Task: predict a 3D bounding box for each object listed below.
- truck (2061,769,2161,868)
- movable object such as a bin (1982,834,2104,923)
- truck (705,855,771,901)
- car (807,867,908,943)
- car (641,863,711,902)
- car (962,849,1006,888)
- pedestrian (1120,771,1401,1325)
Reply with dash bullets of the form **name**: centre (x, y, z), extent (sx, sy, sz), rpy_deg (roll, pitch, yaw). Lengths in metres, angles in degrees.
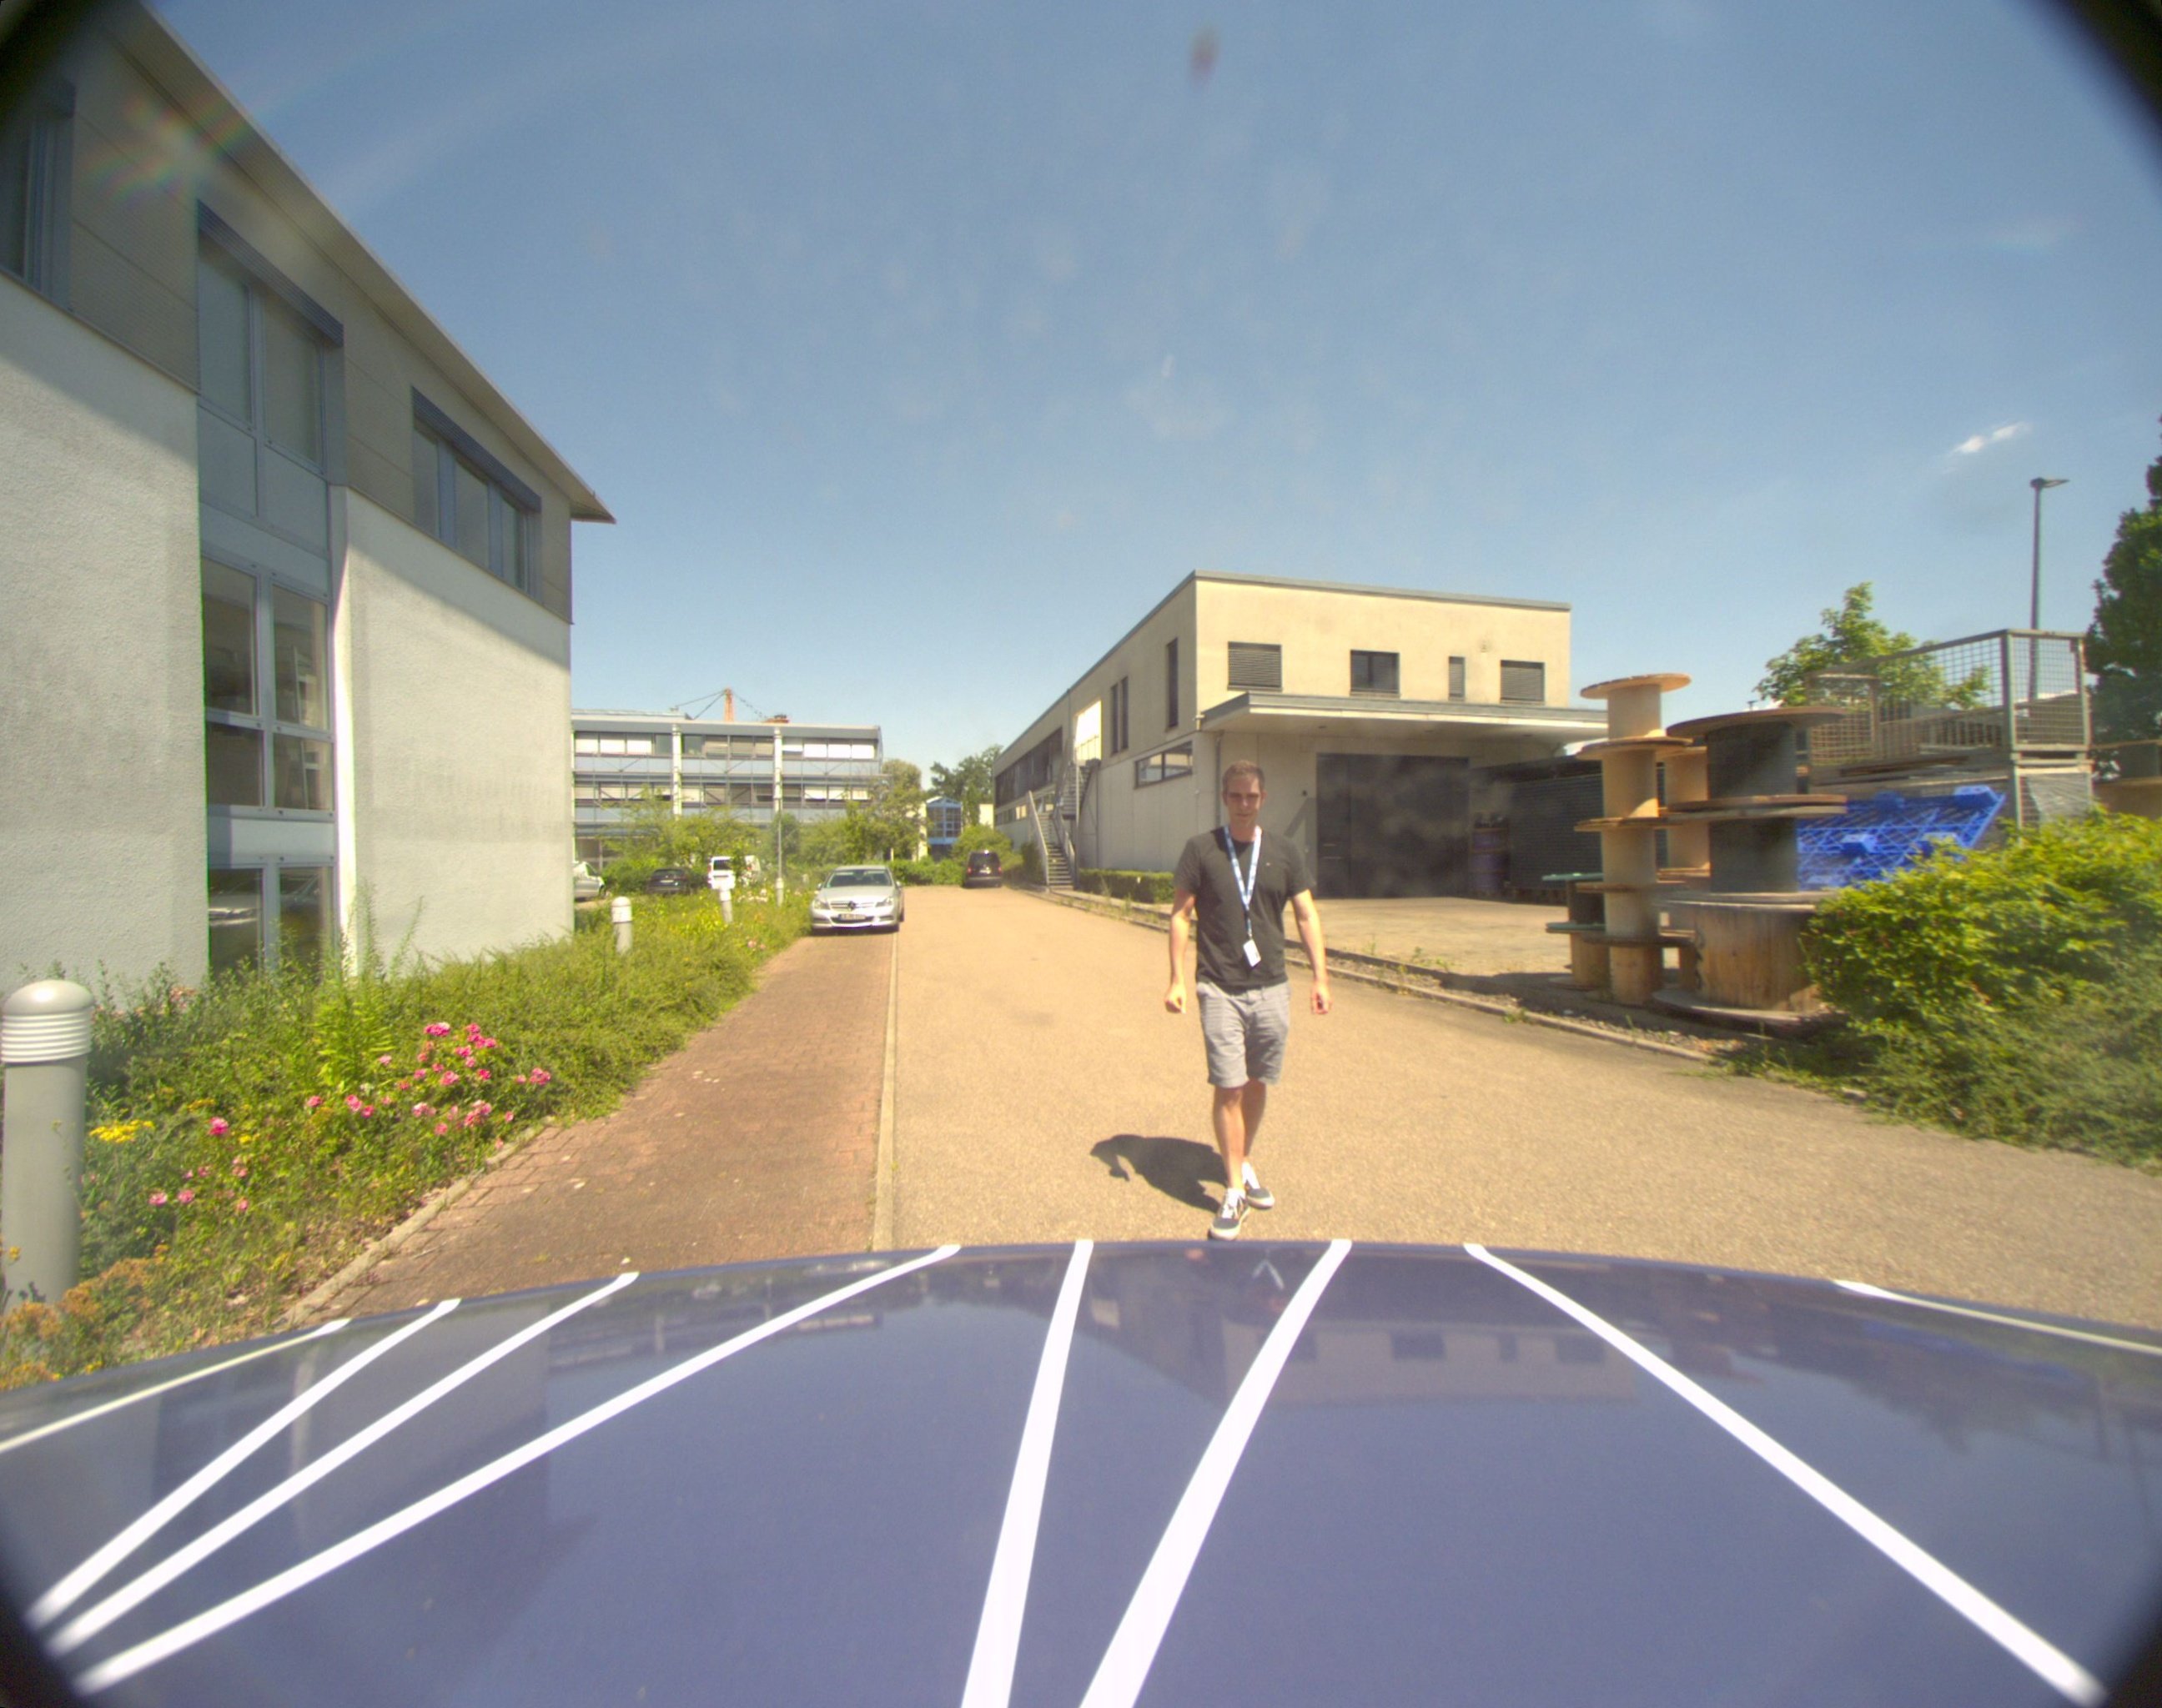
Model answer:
- **truck**: centre (31.463, -1.054, 21.497), extent (5.700, 2.656, 2.416), rpy_deg (-2, 1, -13)
- **movable object such as a bin**: centre (15.171, 0.369, 12.000), extent (1.073, 1.329, 0.759), rpy_deg (-2, 1, -9)
- **truck**: centre (-15.554, 1.014, 34.652), extent (2.001, 1.882, 3.994), rpy_deg (-2, 1, -15)
- **car**: centre (-4.881, 1.045, 17.037), extent (1.712, 1.383, 3.807), rpy_deg (-1, 1, -10)
- **car**: centre (-18.370, 1.240, 34.668), extent (1.789, 1.537, 3.995), rpy_deg (-2, 1, -13)
- **car**: centre (-4.915, 0.672, 38.123), extent (1.789, 1.793, 3.995), rpy_deg (-2, 1, -12)
- **pedestrian**: centre (0.679, 0.645, 2.996), extent (0.859, 1.809, 0.905), rpy_deg (-2, 1, 11)
